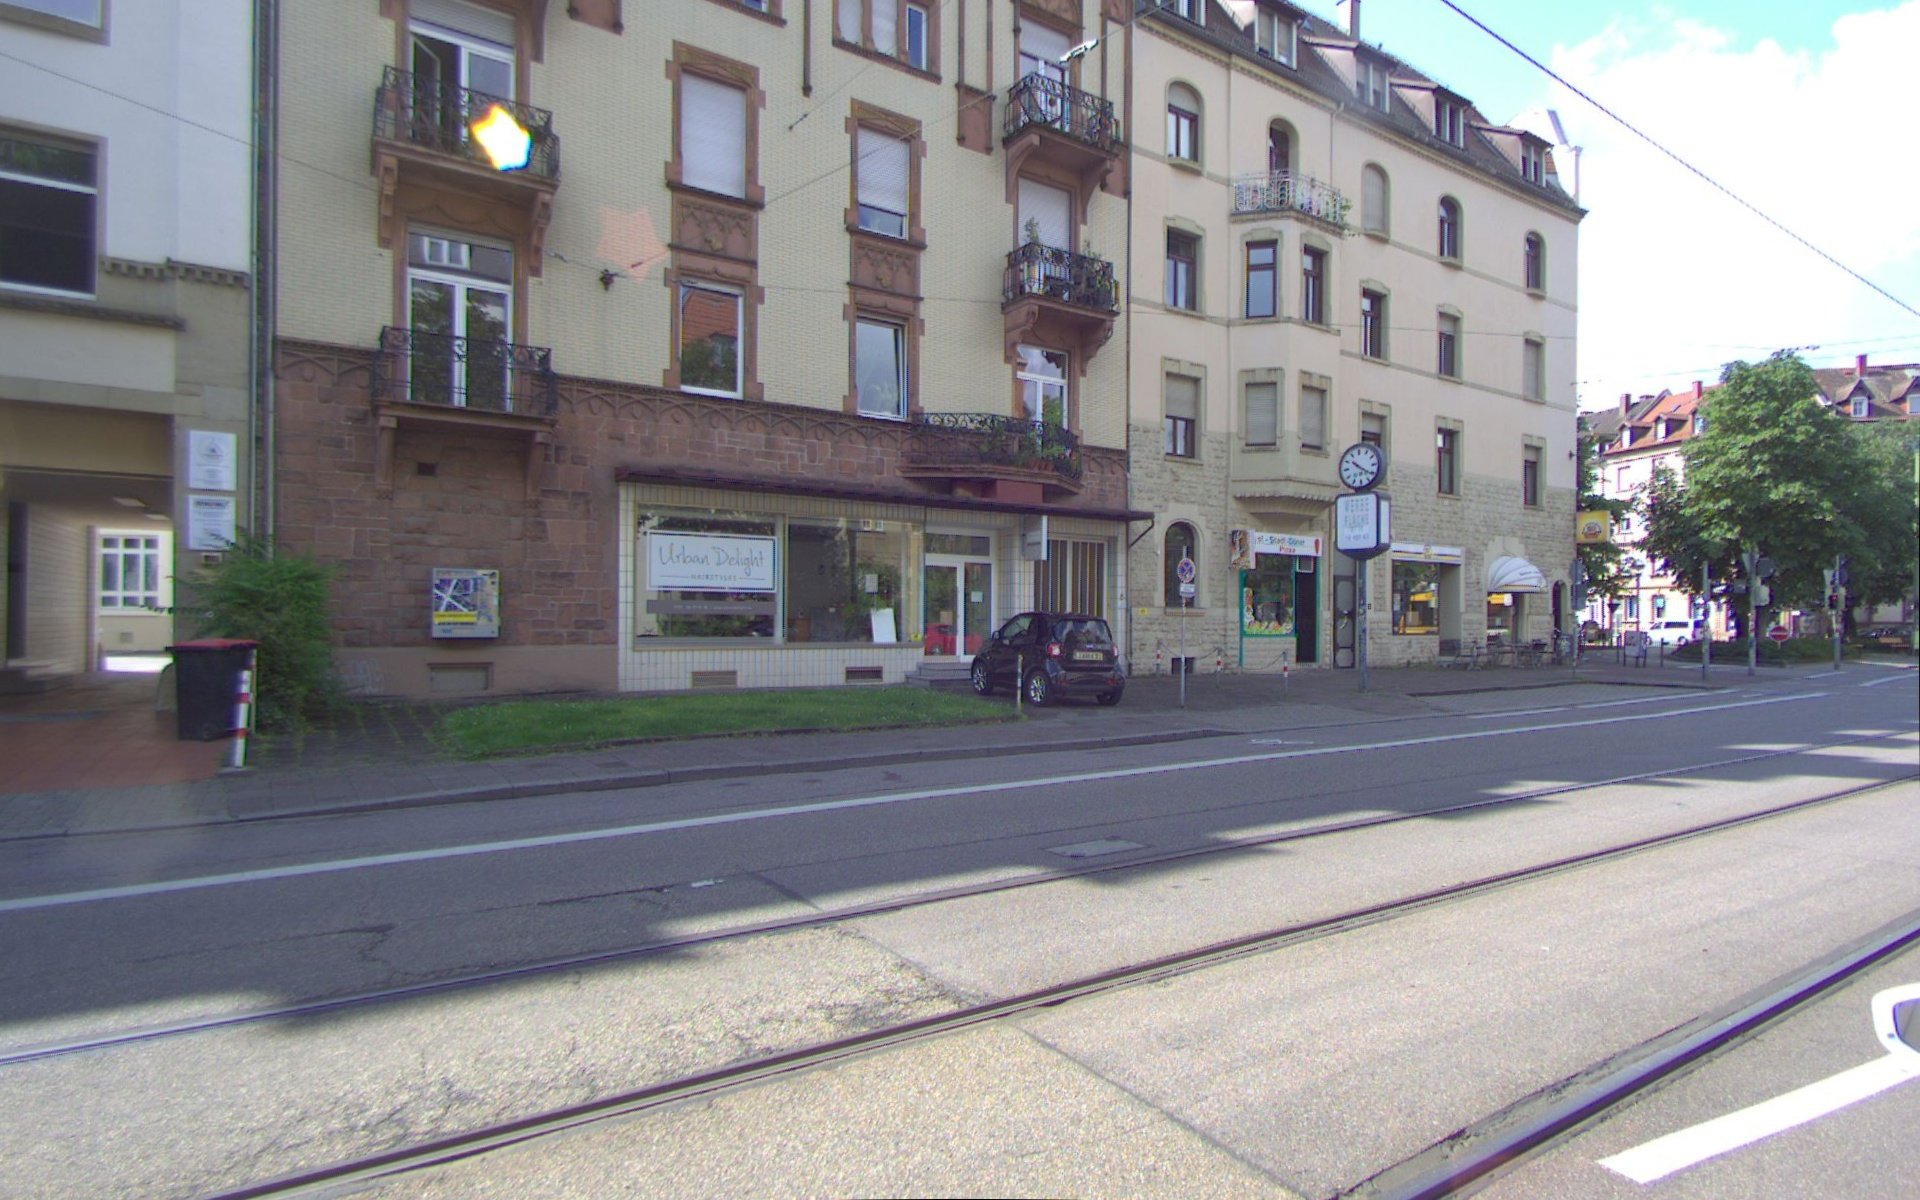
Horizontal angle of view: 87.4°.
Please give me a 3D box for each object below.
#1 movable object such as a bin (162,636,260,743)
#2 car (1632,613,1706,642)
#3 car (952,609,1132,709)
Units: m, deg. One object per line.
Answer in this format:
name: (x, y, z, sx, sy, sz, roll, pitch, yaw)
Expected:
movable object such as a bin: (-8.171, 0.963, 10.976, 0.595, 1.084, 0.597, 2, 1, 1)
car: (53.880, 2.133, 76.376, 1.972, 2.039, 4.112, 0, -4, -23)
car: (1.375, 0.975, 17.874, 1.659, 1.533, 3.221, 1, 0, -29)
